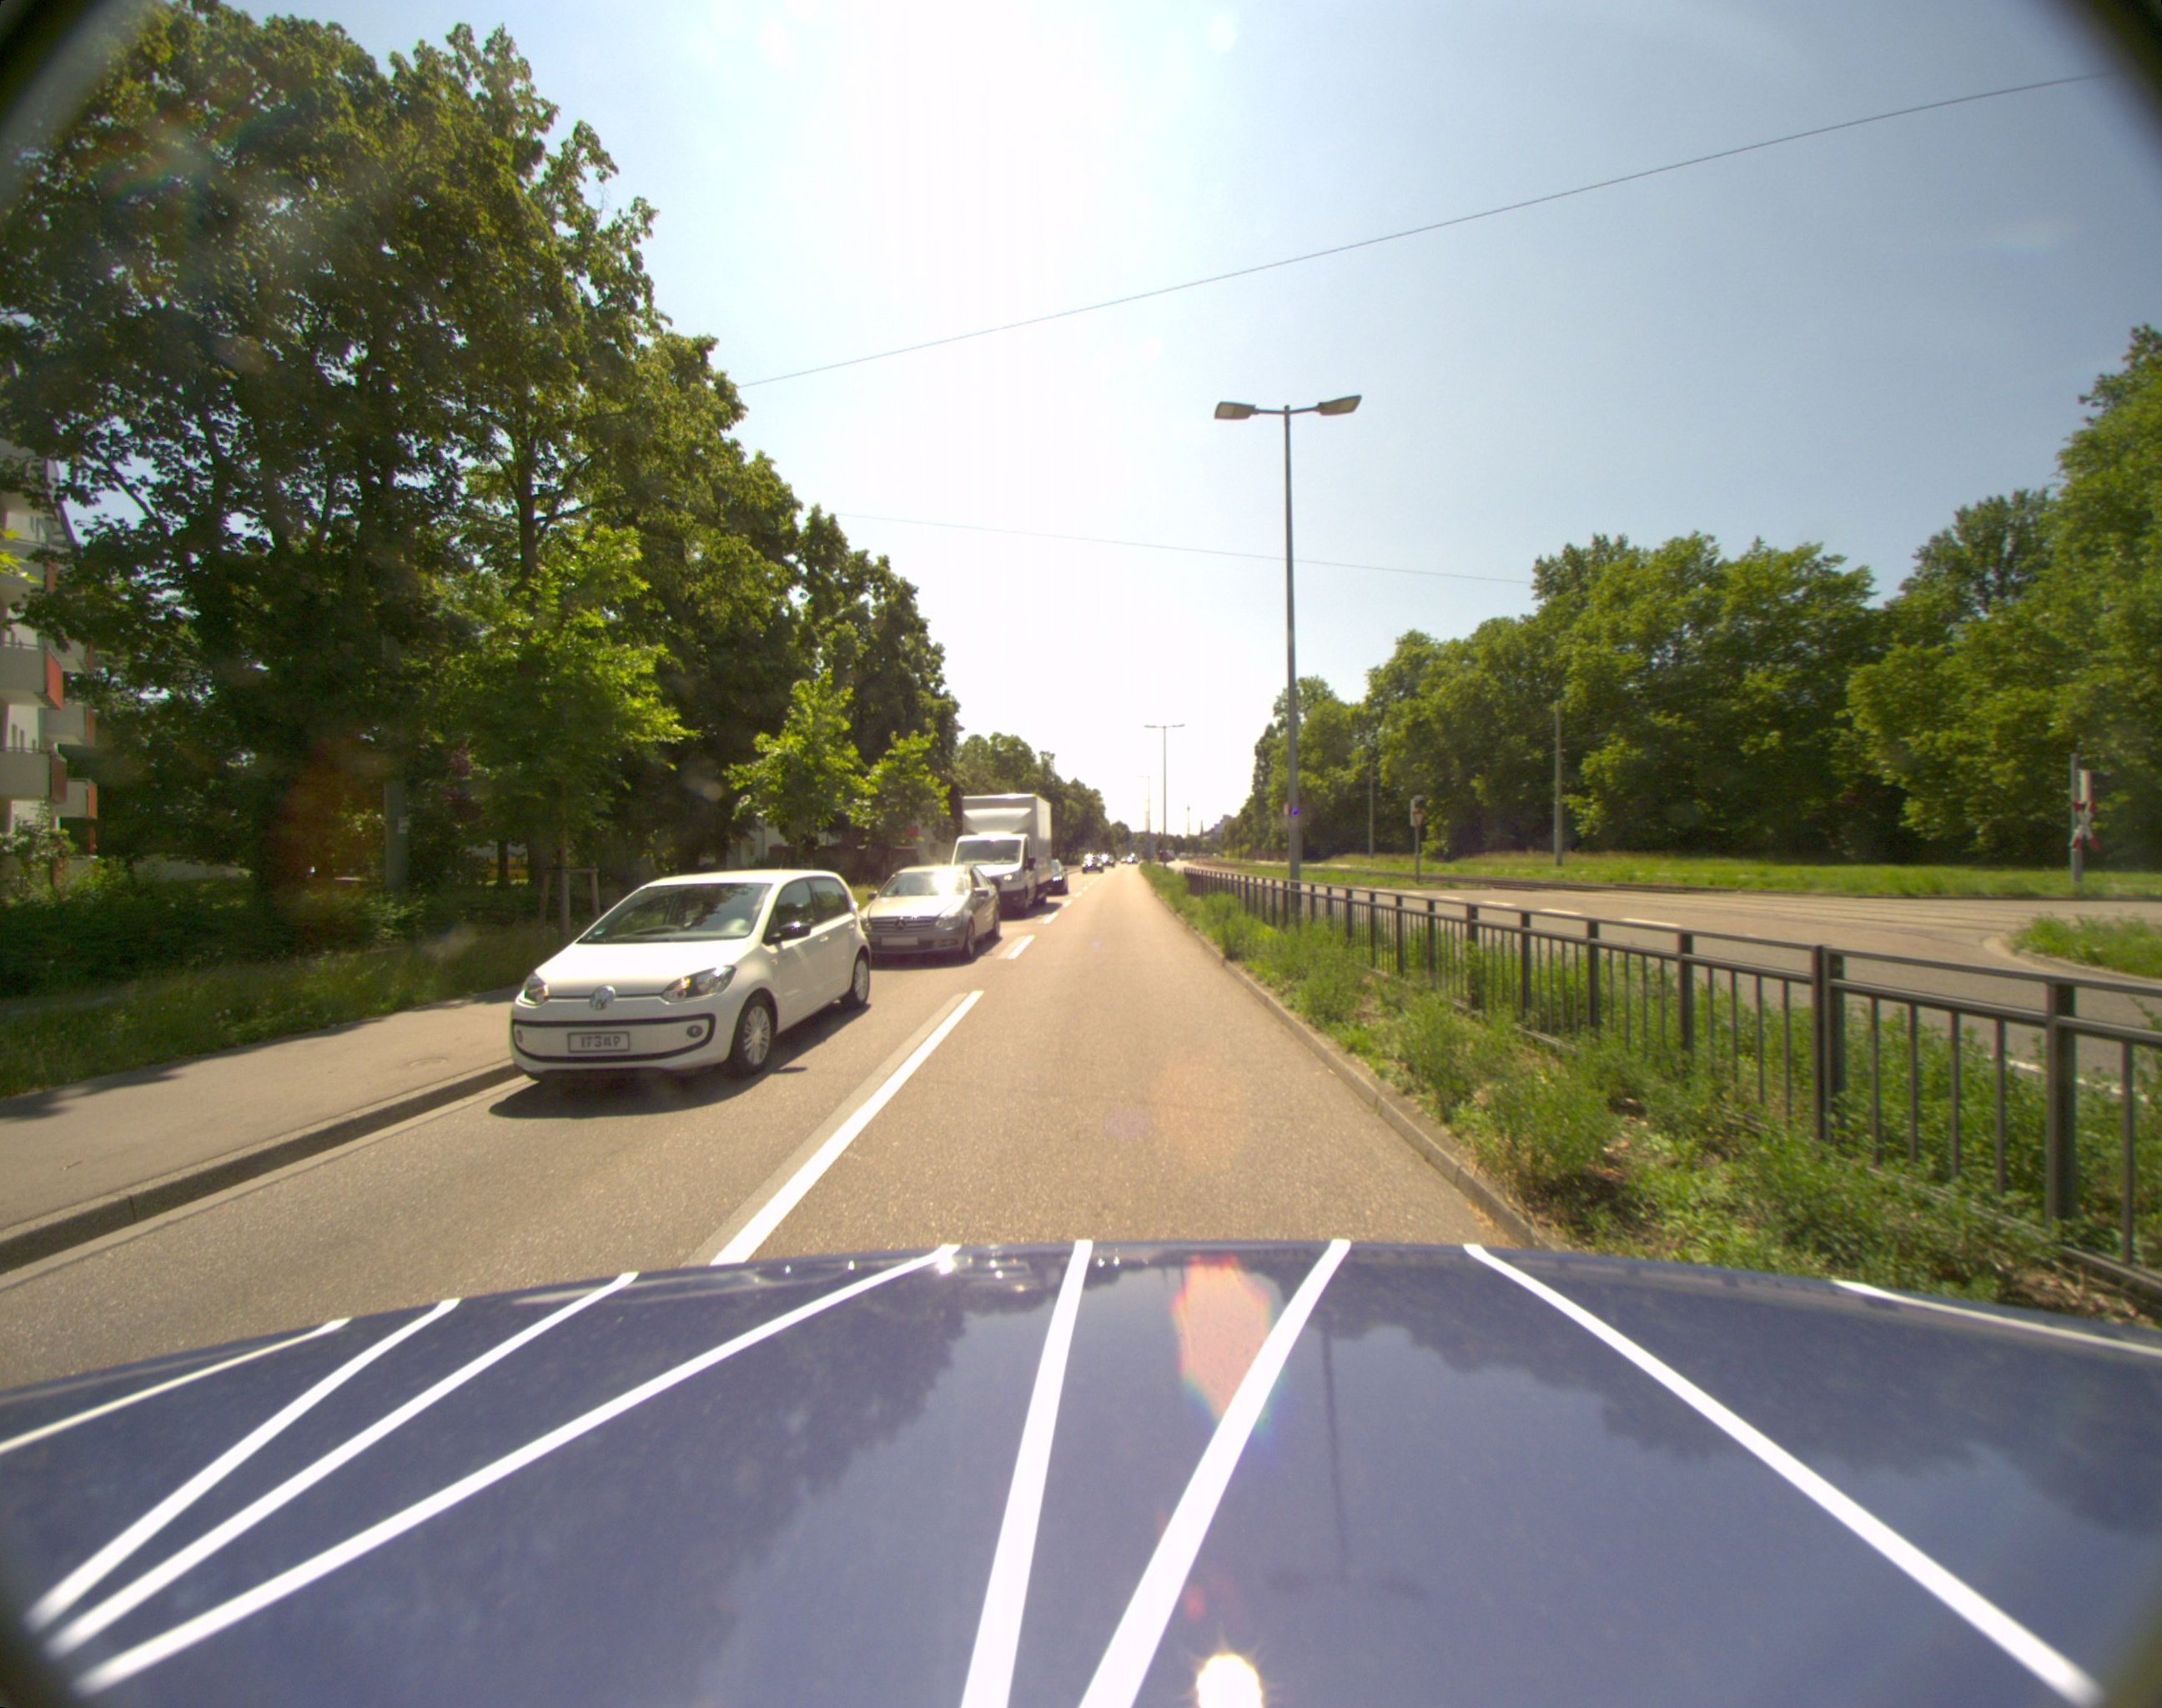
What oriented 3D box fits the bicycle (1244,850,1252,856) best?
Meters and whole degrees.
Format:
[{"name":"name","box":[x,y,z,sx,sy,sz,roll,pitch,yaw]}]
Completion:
[{"name":"bicycle","box":[32.067,-0.181,145.772,0.862,1.155,2.787,-1,0,1]}]

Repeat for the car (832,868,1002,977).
[{"name":"car","box":[-2.475,0.985,12.540,1.840,1.400,4.087,-1,0,1]}]

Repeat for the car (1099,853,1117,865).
[{"name":"car","box":[3.584,0.674,98.831,1.997,1.499,4.002,-1,0,7]}]

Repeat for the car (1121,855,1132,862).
[{"name":"car","box":[9.315,0.890,154.368,1.951,1.499,4.002,-1,0,7]}]

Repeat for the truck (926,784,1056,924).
[{"name":"truck","box":[-2.300,-0.009,22.278,2.433,3.326,7.923,-1,0,3]}]

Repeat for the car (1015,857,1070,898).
[{"name":"car","box":[-1.508,0.913,31.457,1.998,1.499,4.000,-1,0,1]}]

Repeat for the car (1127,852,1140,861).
[{"name":"car","box":[9.175,0.484,132.464,1.997,1.499,4.002,-1,0,7]}]

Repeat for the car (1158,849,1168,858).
[{"name":"car","box":[16.651,-0.133,153.918,1.997,1.847,4.002,-1,0,7]}]

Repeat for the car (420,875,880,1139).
[{"name":"car","box":[-3.126,0.987,6.518,1.730,1.470,3.771,-1,0,1]}]

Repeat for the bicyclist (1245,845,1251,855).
[{"name":"bicyclist","box":[32.082,-0.758,145.709,0.862,1.796,1.118,-1,1,1]}]

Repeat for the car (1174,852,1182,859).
[{"name":"car","box":[26.676,0.300,208.032,1.998,1.847,4.001,-1,0,5]}]

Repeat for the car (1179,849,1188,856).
[{"name":"car","box":[27.083,-0.327,200.868,1.998,1.847,4.001,-1,0,5]}]

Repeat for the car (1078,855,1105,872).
[{"name":"car","box":[0.986,0.829,69.564,1.997,1.499,4.002,-1,0,7]}]
